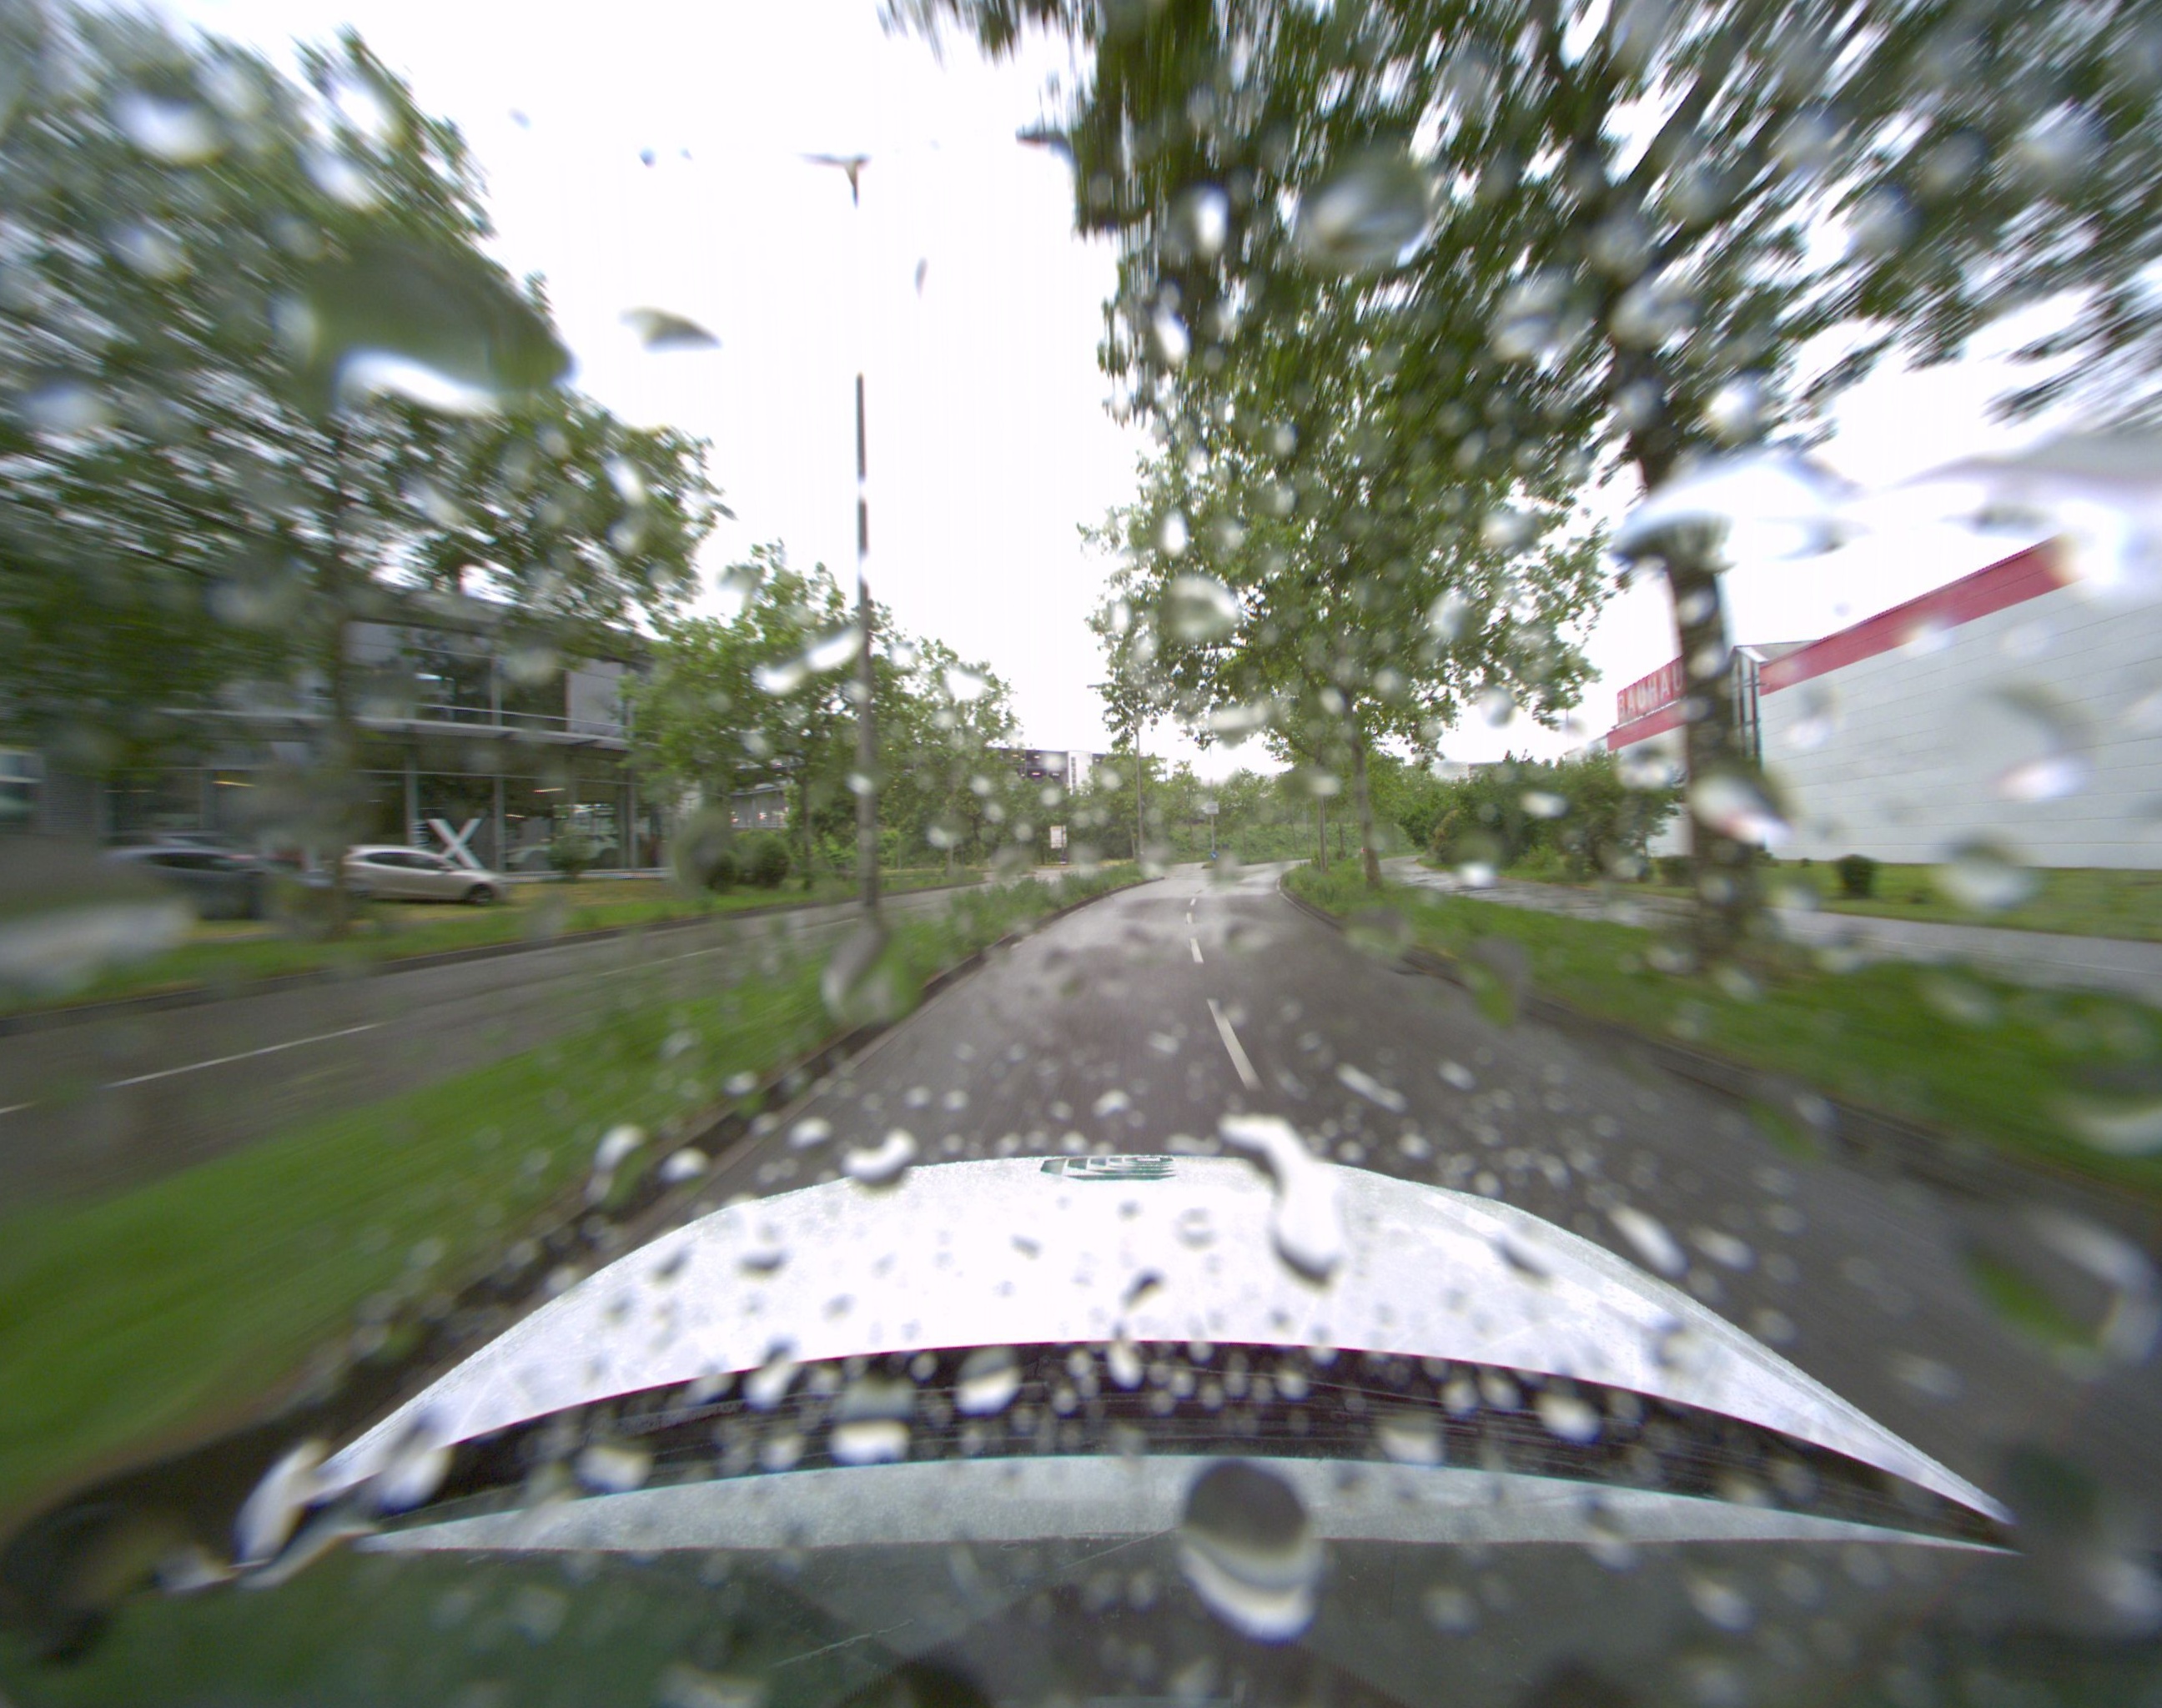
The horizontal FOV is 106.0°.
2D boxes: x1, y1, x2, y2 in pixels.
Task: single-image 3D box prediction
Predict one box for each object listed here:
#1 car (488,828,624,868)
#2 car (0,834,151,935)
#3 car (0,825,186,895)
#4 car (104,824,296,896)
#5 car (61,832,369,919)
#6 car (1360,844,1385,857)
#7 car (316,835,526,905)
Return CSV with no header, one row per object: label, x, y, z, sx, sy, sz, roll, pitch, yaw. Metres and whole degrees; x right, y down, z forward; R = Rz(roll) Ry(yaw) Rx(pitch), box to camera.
car,-20.602,-0.246,32.143,1.761,1.476,4.139,-1,0,34
car,-18.461,0.436,13.224,4.151,1.479,1.826,6,1,-43
car,-23.207,0.147,18.833,4.383,1.473,1.930,-1,0,22
car,-22.942,0.169,21.207,4.383,1.738,1.930,-1,0,22
car,-17.921,0.487,17.210,4.149,1.422,1.827,6,1,-39
car,37.025,-0.467,103.370,1.762,1.555,4.026,0,2,39
car,-17.432,0.462,21.642,1.763,1.475,4.023,7,1,42
